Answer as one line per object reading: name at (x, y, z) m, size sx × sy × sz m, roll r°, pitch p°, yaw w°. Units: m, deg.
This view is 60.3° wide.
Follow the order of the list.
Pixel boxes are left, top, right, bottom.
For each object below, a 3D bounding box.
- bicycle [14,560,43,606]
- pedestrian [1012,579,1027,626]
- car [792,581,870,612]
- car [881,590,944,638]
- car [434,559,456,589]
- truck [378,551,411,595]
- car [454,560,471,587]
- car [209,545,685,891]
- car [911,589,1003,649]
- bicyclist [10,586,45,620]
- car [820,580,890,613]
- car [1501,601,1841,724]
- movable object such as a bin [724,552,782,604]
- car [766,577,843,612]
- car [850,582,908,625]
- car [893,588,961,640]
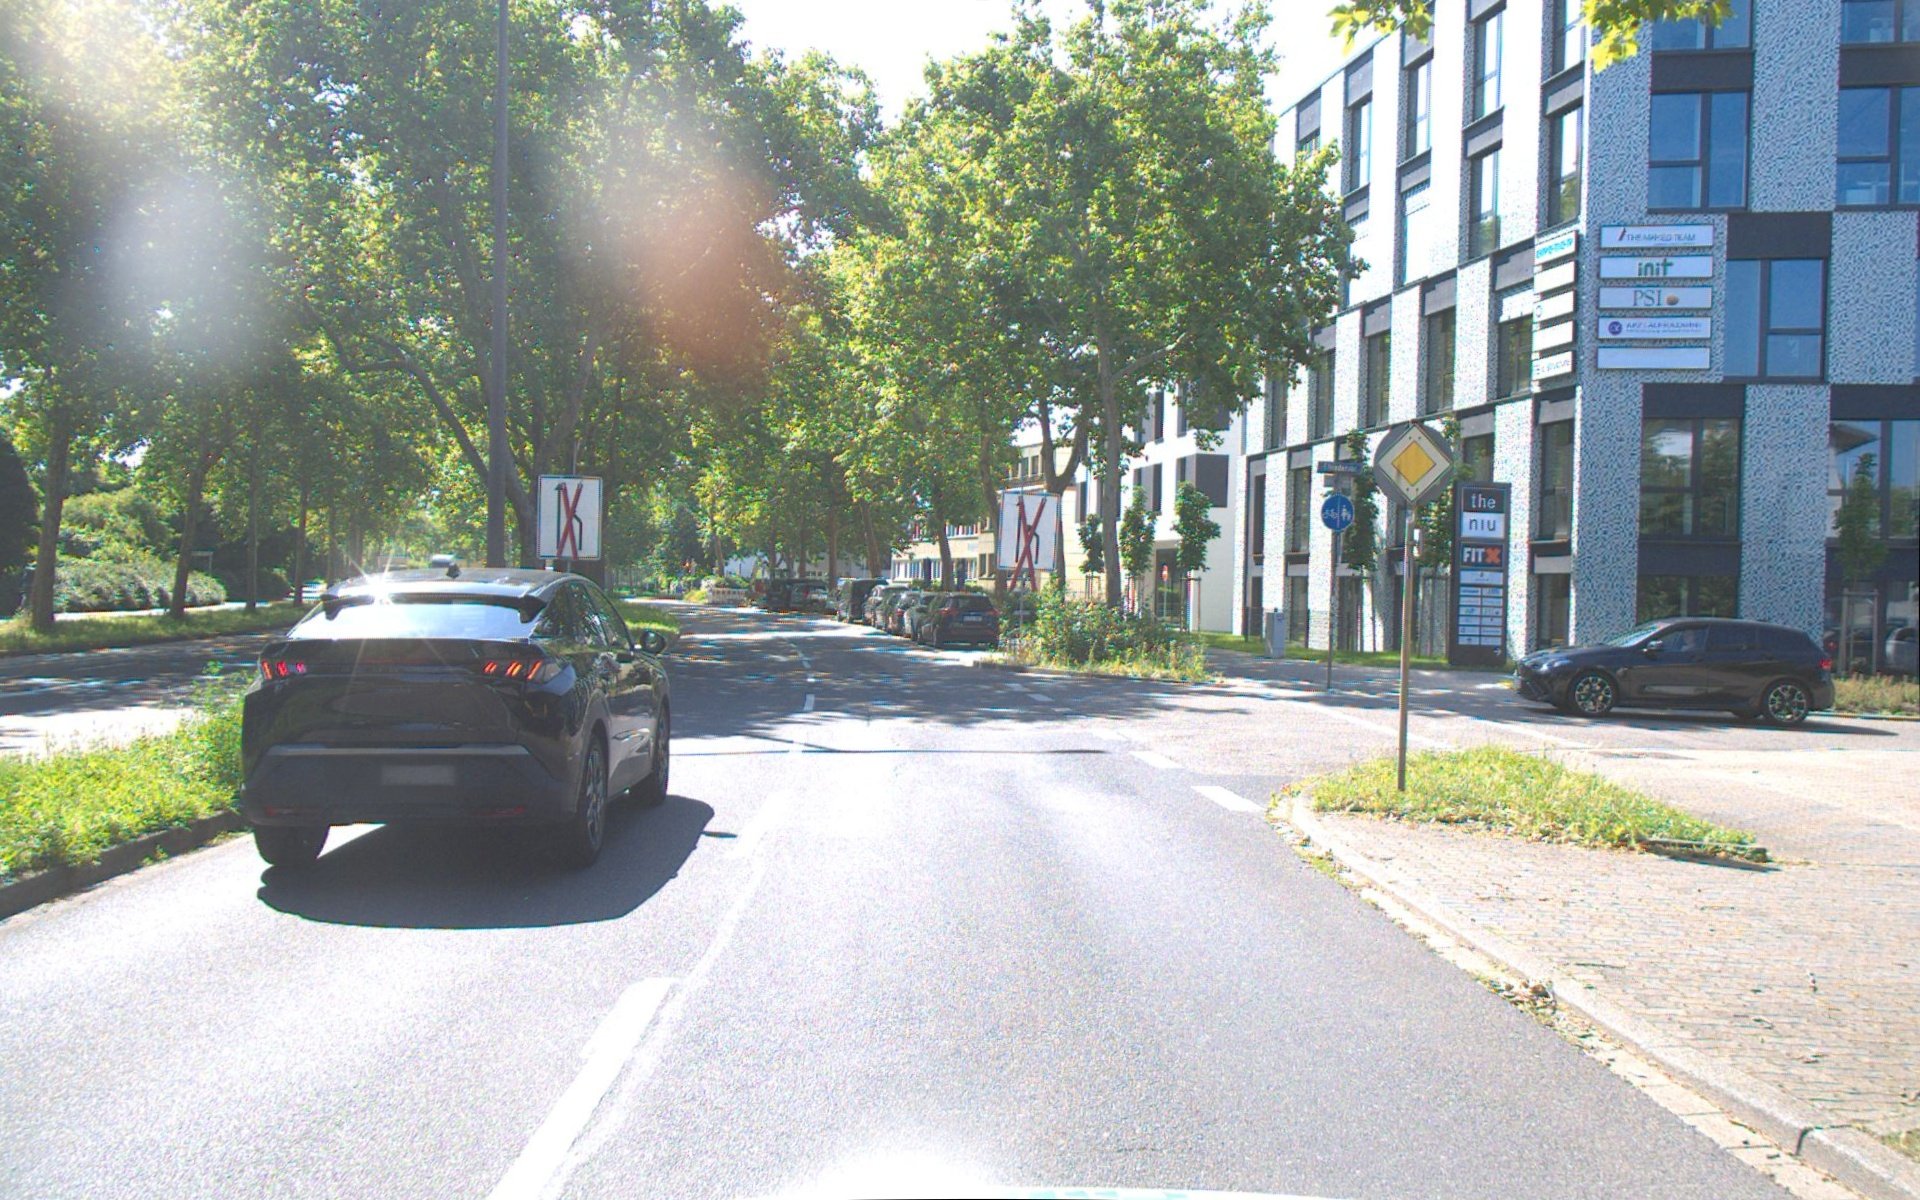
bicycle at (-28.596, -0.521, 50.807) m, size 0.420 × 1.409 × 0.953 m, roll 1°, pitch 0°, yaw -7°
pedestrian at (2.369, 0.094, 66.351) m, size 0.467 × 1.839 × 0.636 m, roll 1°, pitch 0°, yaw -8°
car at (-7.246, -0.177, 93.157) m, size 4.053 × 1.662 × 1.697 m, roll 1°, pitch 1°, yaw -28°
car at (-1.657, 0.440, 56.108) m, size 1.674 × 1.480 × 4.648 m, roll 1°, pitch 1°, yaw -7°
car at (-64.422, -3.317, 206.931) m, size 2.412 × 3.509 × 7.064 m, roll 3°, pitch 1°, yaw -18°
truck at (-48.269, -2.340, 141.084) m, size 2.414 × 3.509 × 7.058 m, roll 3°, pitch 1°, yaw -20°
car at (-65.365, -3.451, 217.457) m, size 2.025 × 3.494 × 6.739 m, roll 1°, pitch 0°, yaw -16°
car at (-2.931, 0.594, 10.515) m, size 1.835 × 1.726 × 4.433 m, roll 0°, pitch 0°, yaw -3°
car at (-0.136, 0.481, 45.429) m, size 1.676 × 1.513 × 4.706 m, roll 0°, pitch 1°, yaw -11°
bicyclist at (-28.600, 0.089, 50.727) m, size 0.420 × 1.031 × 1.423 m, roll 1°, pitch 0°, yaw -7°
car at (-5.662, -0.186, 88.955) m, size 3.493 × 1.668 × 1.652 m, roll 1°, pitch 0°, yaw -15°
car at (10.258, 0.868, 24.179) m, size 4.157 × 1.544 × 2.002 m, roll 2°, pitch 0°, yaw 9°
movable object such as a bin at (-13.347, -1.409, 106.316) m, size 2.311 × 3.297 × 3.386 m, roll 1°, pitch 1°, yaw -37°
car at (-8.901, -0.331, 94.712) m, size 4.056 × 1.912 × 1.767 m, roll 1°, pitch 1°, yaw -30°
car at (-3.403, 0.112, 68.551) m, size 1.677 × 1.698 × 4.520 m, roll 1°, pitch 1°, yaw -12°
car at (-1.072, 0.409, 51.309) m, size 1.674 × 1.513 × 4.094 m, roll 1°, pitch 1°, yaw -7°
